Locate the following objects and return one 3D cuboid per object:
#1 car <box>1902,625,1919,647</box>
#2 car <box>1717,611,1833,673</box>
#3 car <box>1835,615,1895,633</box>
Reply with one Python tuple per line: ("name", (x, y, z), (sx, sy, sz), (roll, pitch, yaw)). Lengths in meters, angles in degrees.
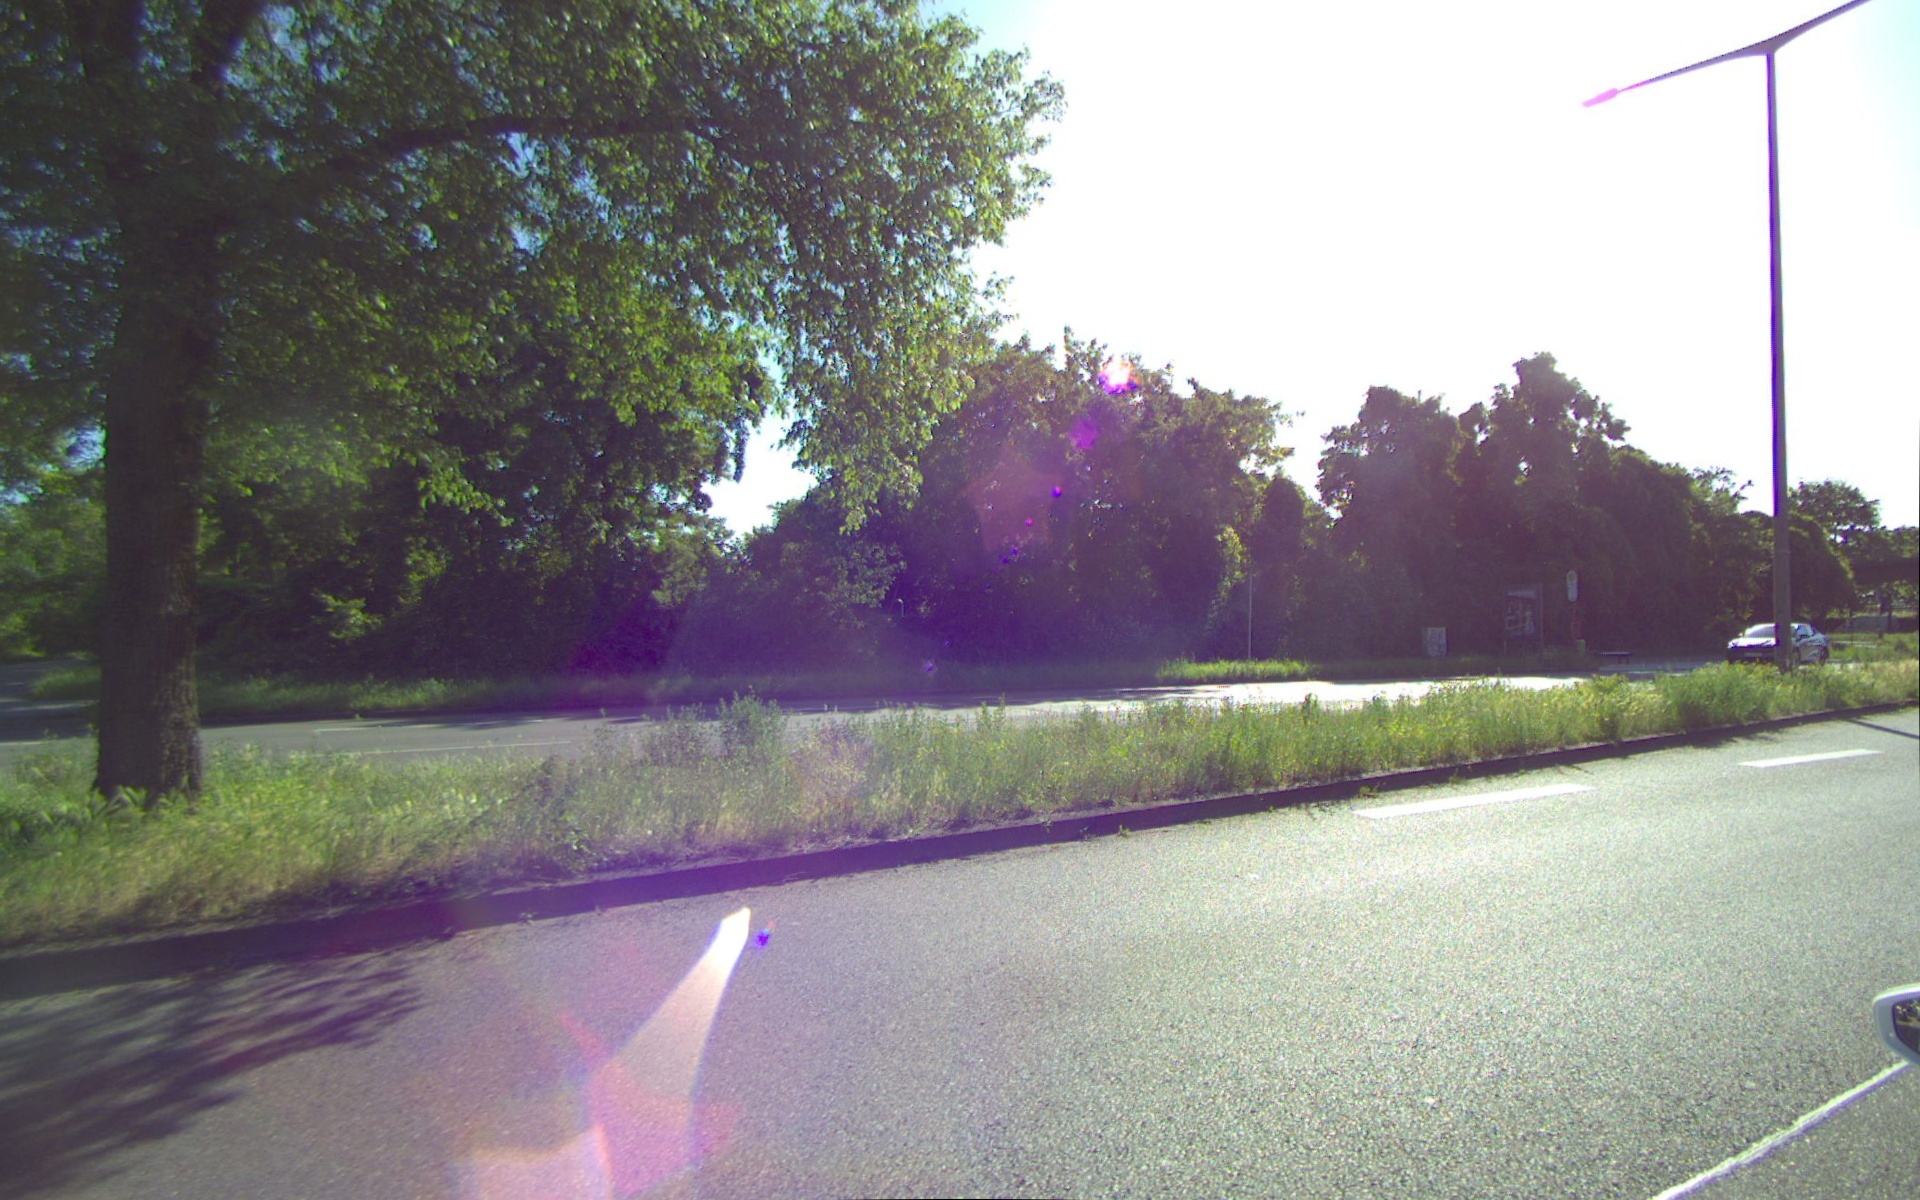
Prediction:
("car", (74.535, 2.766, 76.142), (1.964, 1.672, 4.313), (1, -1, -10))
("car", (28.577, 1.446, 35.187), (4.535, 2.040, 1.981), (2, -1, -34))
("car", (103.809, 2.737, 115.319), (1.975, 2.040, 4.768), (1, -1, -27))
